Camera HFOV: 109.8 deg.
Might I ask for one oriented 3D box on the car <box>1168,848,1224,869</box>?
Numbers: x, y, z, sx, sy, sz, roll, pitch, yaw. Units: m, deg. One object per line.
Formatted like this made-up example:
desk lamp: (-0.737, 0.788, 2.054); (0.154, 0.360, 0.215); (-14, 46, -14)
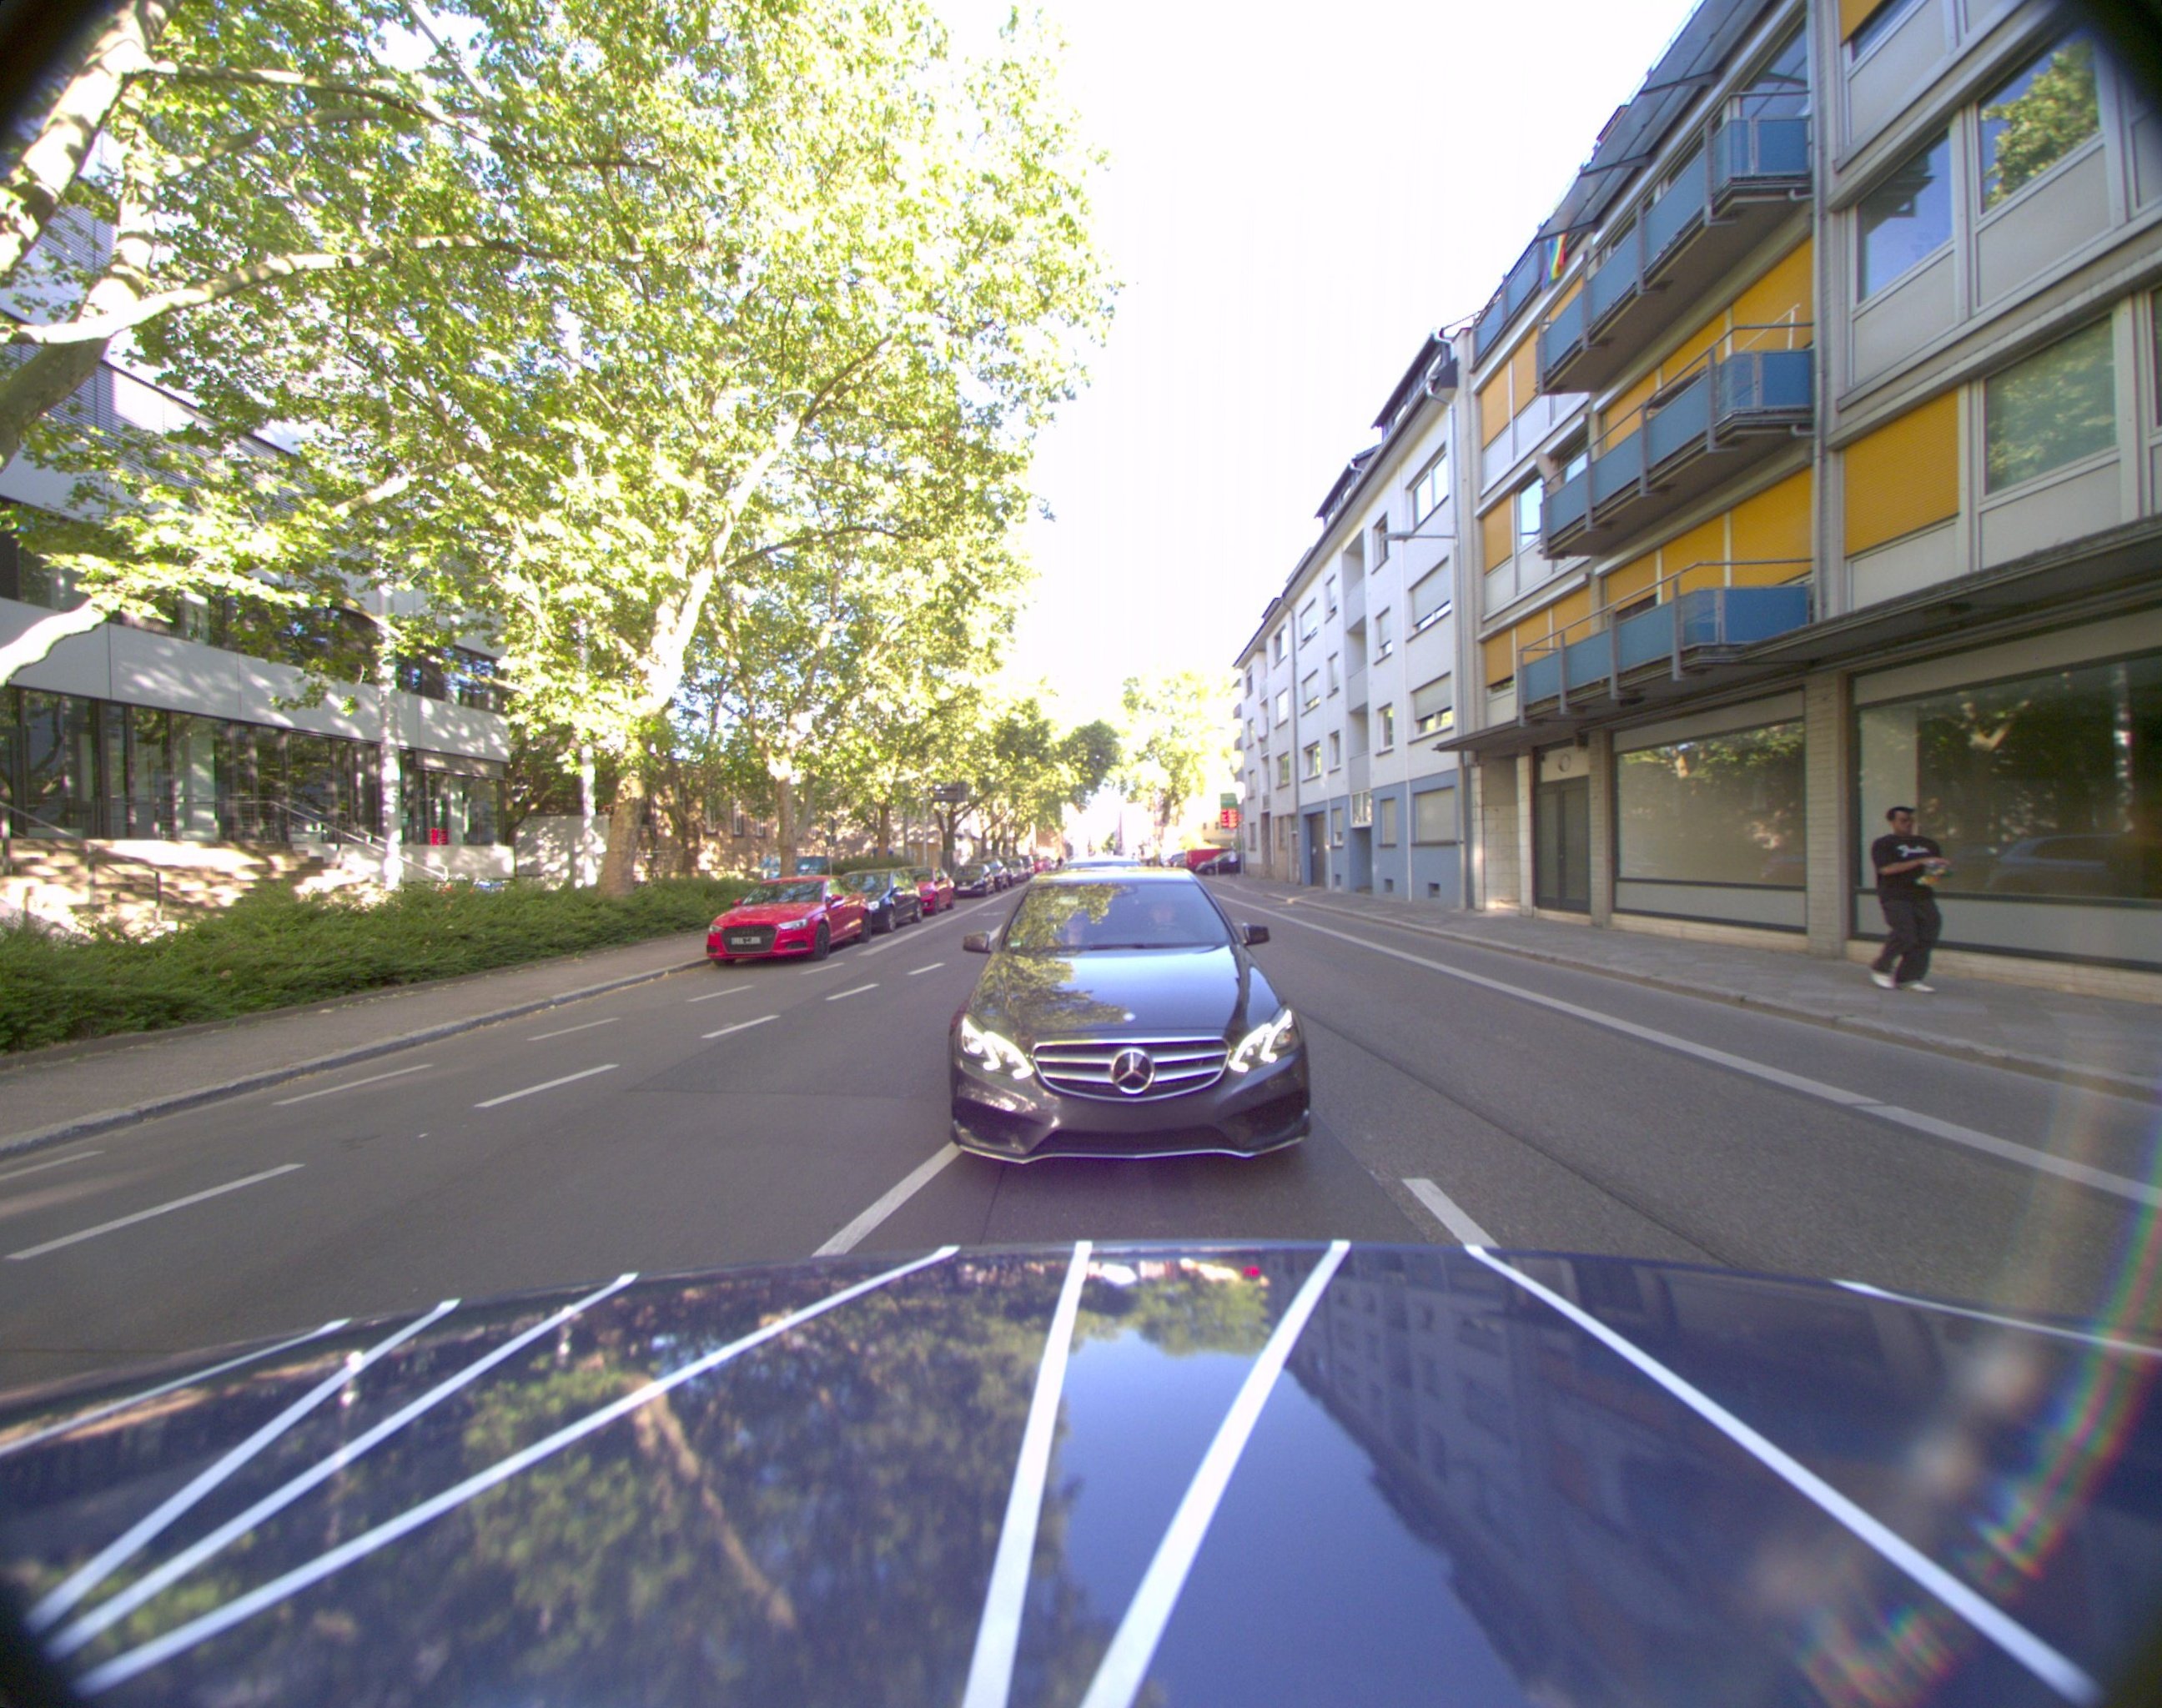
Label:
car: (11.096, 0.443, 73.525); (5.143, 1.926, 2.187); (-2, 0, 1)

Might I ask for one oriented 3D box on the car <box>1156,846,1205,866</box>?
car: (11.186, 0.201, 85.525); (5.143, 2.135, 2.187); (-2, 0, 1)

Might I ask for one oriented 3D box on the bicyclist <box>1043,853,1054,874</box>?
bicyclist: (-2.213, 0.641, 51.569); (0.650, 1.427, 0.741); (-2, 1, 1)

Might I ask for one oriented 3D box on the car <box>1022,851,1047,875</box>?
car: (-4.000, 0.729, 66.393); (1.755, 1.941, 4.447); (-3, 0, 1)

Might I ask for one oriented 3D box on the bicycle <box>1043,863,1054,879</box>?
bicycle: (-2.202, 1.152, 51.594); (0.650, 1.053, 1.595); (-2, 0, 1)

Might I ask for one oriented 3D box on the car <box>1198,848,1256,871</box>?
car: (10.910, 0.391, 56.995); (3.997, 1.552, 1.743); (-2, 0, 1)

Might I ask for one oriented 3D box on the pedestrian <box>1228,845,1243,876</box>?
pedestrian: (8.808, 0.368, 43.327); (0.608, 1.737, 0.756); (-2, 1, 1)

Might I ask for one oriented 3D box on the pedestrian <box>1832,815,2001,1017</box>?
pedestrian: (7.763, 0.548, 7.098); (0.663, 1.761, 0.793); (-2, 1, 1)

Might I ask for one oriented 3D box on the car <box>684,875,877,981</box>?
car: (-5.127, 1.181, 13.601); (1.755, 1.400, 4.000); (-3, 0, 1)

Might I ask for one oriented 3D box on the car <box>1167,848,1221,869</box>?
car: (11.269, 0.404, 76.225); (5.054, 1.926, 2.161); (-2, 0, 1)

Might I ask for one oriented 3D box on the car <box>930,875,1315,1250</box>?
car: (0.210, 0.983, 5.361); (1.667, 1.499, 4.000); (-1, 0, 1)

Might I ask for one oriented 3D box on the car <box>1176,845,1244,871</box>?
car: (10.633, 0.294, 63.109); (5.223, 1.969, 2.257); (-2, 0, 1)

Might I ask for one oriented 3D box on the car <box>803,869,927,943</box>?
car: (-5.087, 1.172, 18.446); (1.755, 1.424, 3.909); (-3, 0, 1)

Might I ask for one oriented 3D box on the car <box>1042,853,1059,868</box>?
car: (-3.651, 0.773, 93.008); (1.755, 1.652, 4.447); (-3, 0, 1)

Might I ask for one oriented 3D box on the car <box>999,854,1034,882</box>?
car: (-4.275, 0.880, 50.948); (1.755, 1.718, 4.447); (-3, 0, 1)

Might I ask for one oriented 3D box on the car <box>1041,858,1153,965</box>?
car: (0.269, 0.886, 13.613); (1.667, 1.563, 4.000); (-1, 0, 1)

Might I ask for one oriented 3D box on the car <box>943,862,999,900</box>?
car: (-4.752, 1.118, 33.297); (1.755, 1.424, 3.909); (-3, 0, 1)

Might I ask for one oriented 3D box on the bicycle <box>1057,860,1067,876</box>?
bicycle: (-1.253, 0.919, 51.302); (0.574, 1.053, 1.595); (-2, 0, 1)

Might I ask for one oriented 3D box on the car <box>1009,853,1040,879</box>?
car: (-4.105, 0.822, 55.759); (1.755, 1.753, 4.447); (-3, 0, 1)

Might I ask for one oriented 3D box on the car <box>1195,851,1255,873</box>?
car: (10.354, 0.562, 54.785); (3.997, 1.412, 1.743); (-2, 0, 1)

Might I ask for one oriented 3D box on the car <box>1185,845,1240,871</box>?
car: (10.328, 0.300, 60.084); (3.997, 1.926, 1.867); (-2, 0, 1)

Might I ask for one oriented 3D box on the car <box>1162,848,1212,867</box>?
car: (11.319, 0.347, 81.189); (5.042, 1.926, 2.315); (-2, 0, 1)

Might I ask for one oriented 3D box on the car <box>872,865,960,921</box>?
car: (-5.036, 1.146, 23.659); (1.755, 1.459, 3.909); (-3, 0, 1)

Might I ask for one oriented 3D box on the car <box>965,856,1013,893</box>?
car: (-4.565, 0.976, 38.267); (1.755, 1.644, 4.174); (-3, 0, 1)

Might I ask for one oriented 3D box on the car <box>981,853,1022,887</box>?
car: (-4.556, 0.870, 44.066); (1.755, 1.810, 4.447); (-3, 0, 1)

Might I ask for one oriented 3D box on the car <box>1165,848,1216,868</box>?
car: (11.283, 0.373, 78.723); (4.991, 1.926, 2.083); (-2, 0, 1)
